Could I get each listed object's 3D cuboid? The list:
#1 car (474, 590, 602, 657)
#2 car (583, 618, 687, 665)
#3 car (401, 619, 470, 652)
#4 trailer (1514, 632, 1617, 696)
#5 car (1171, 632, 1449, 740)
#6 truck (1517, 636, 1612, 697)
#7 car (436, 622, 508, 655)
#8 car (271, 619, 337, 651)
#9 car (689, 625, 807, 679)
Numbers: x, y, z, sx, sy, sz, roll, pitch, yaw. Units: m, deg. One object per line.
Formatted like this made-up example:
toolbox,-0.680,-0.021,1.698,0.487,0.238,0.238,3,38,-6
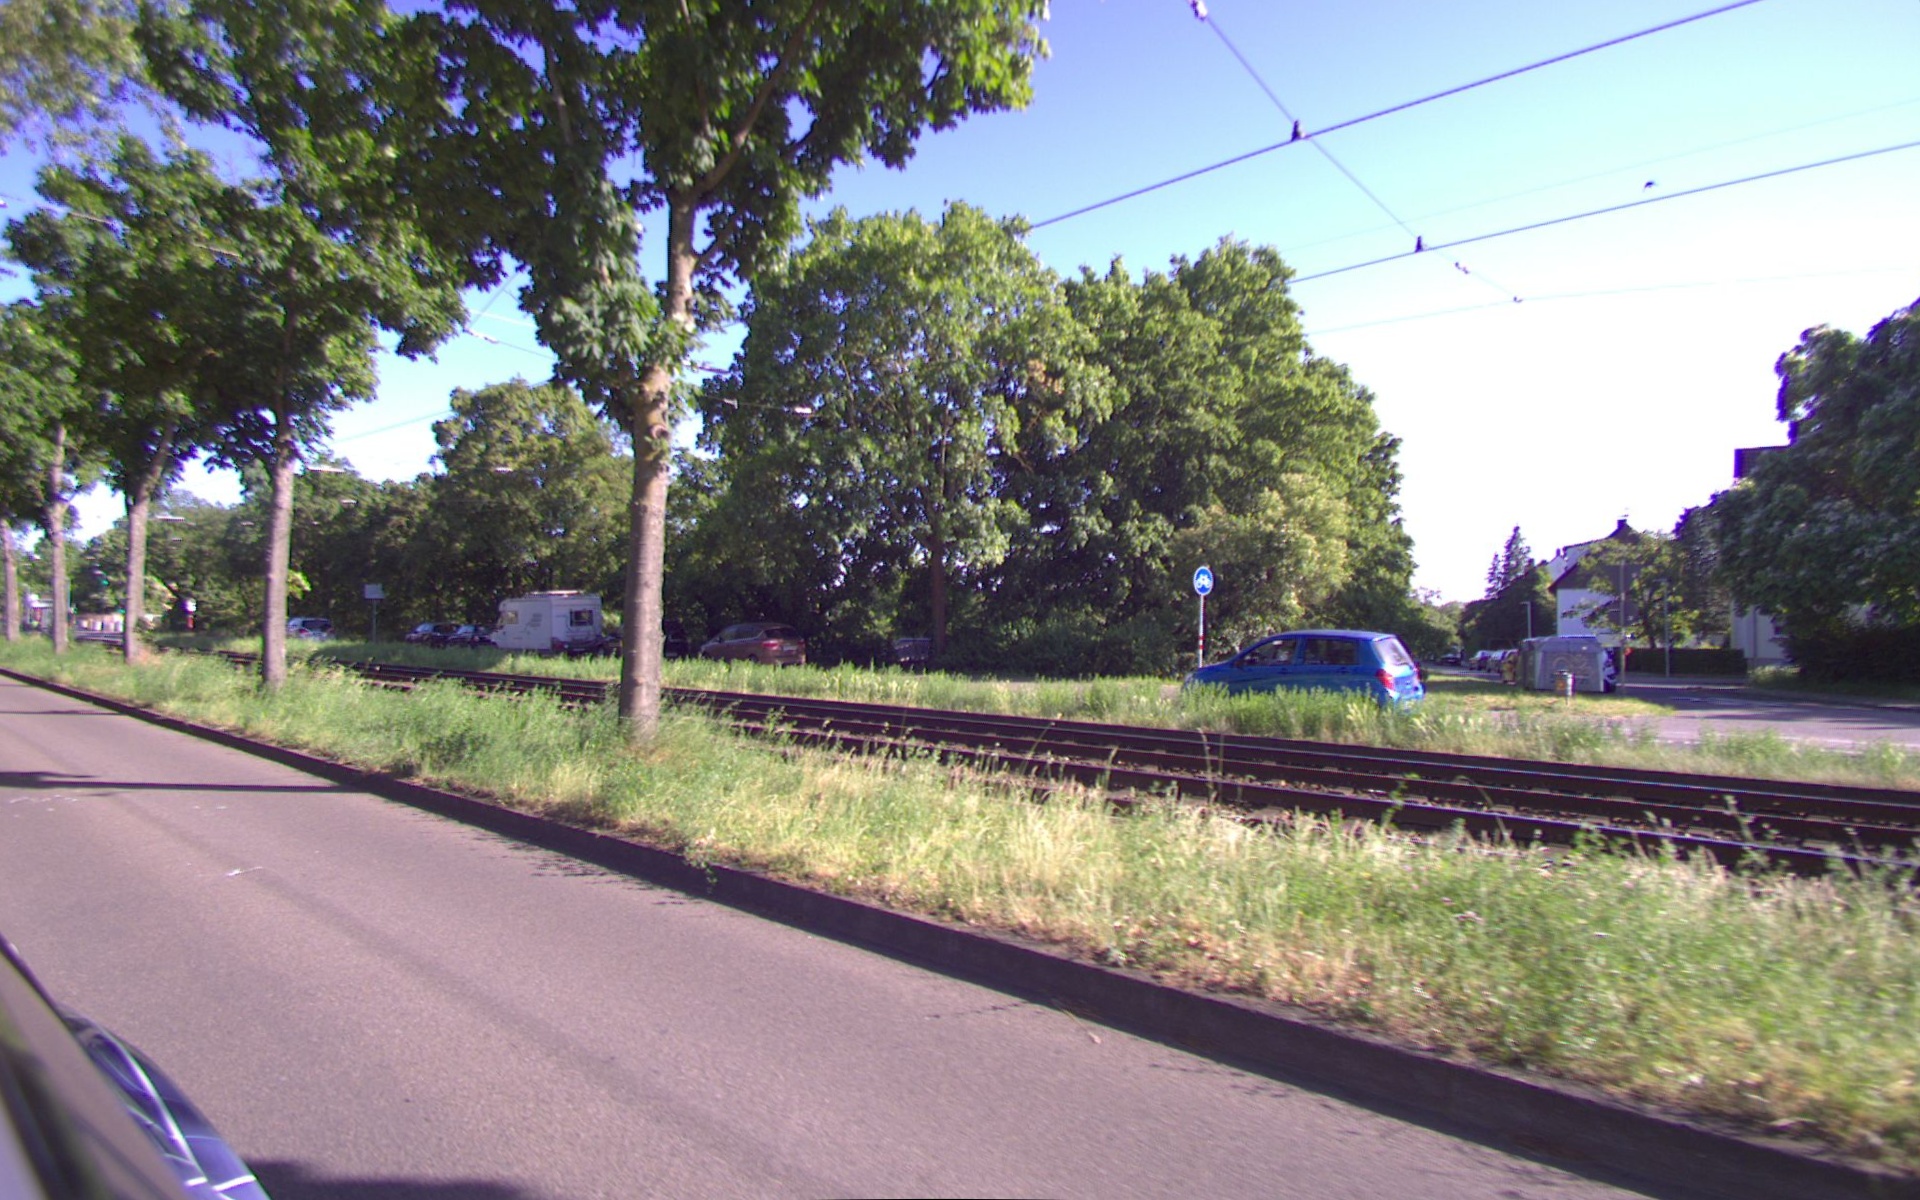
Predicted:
car,-17.856,0.987,42.597,6.795,2.600,2.202,-2,-2,41
car,-12.172,1.483,37.772,4.530,1.635,1.605,-1,-1,41
car,-26.417,1.750,50.900,4.282,1.575,1.748,-1,-1,43
trailer,16.209,1.650,27.260,1.741,1.515,3.733,0,-1,21
car,5.375,1.247,15.795,3.818,1.405,1.541,-1,-1,41
truck,21.397,2.294,36.026,2.069,1.883,4.907,0,-1,21
car,-23.081,1.795,47.801,3.999,1.445,1.692,-1,-1,42
car,-33.334,1.737,51.371,4.441,1.539,1.708,-1,-1,42
car,-6.978,1.637,33.138,4.248,1.596,1.656,-1,-1,43
